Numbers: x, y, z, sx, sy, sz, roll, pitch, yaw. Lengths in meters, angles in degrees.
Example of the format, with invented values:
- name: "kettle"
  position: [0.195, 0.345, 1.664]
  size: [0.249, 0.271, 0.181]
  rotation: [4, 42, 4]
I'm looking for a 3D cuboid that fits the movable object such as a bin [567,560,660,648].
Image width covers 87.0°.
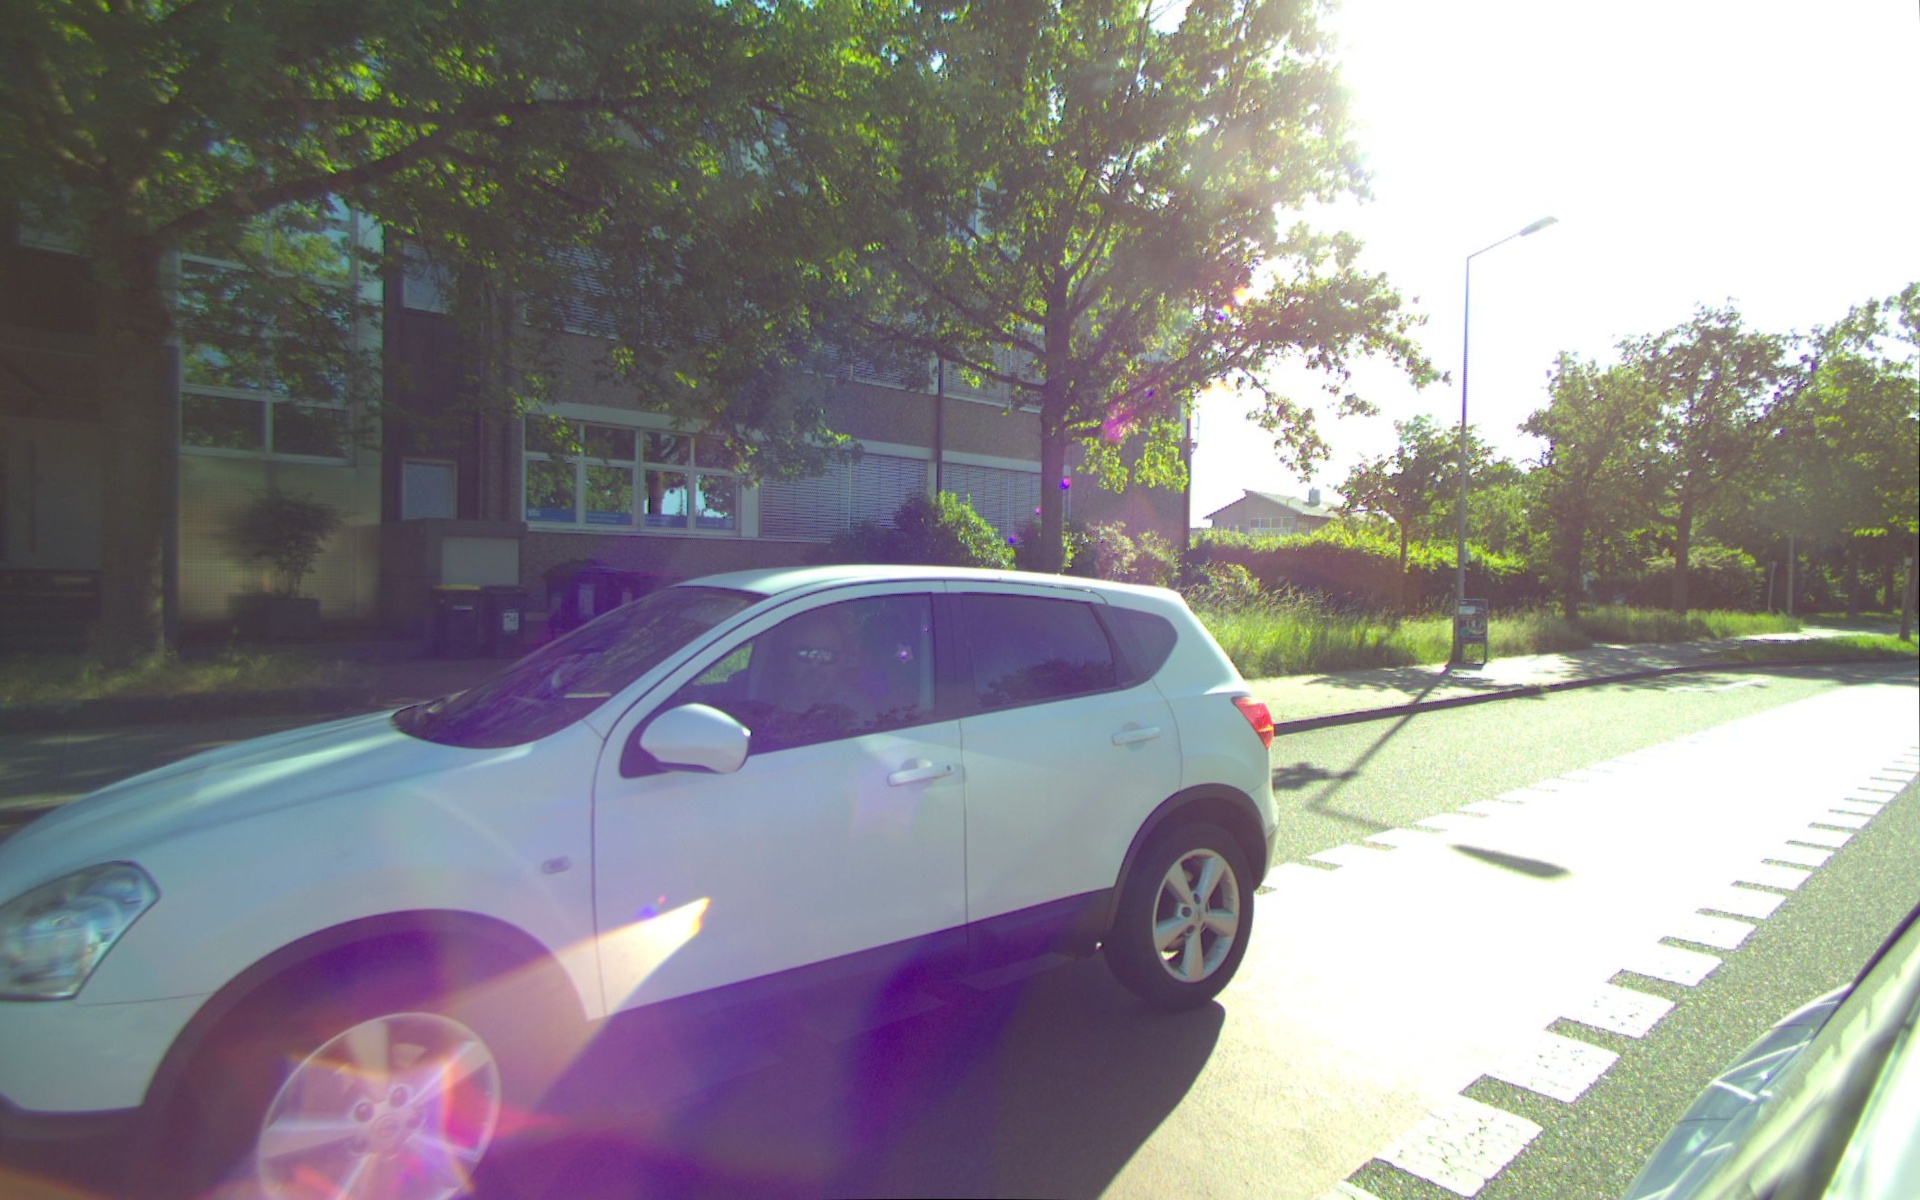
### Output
- name: "movable object such as a bin"
  position: [-5.774, 0.045, 16.855]
  size: [1.070, 1.388, 1.186]
  rotation: [0, 2, -43]

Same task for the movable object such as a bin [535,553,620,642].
- name: "movable object such as a bin"
  position: [-6.783, -0.072, 17.935]
  size: [1.024, 1.501, 1.309]
  rotation: [0, 2, -41]

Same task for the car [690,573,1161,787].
- name: "car"
  position: [-0.148, 0.578, 9.126]
  size: [4.068, 1.487, 1.705]
  rotation: [1, 1, -41]

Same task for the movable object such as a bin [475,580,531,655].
- name: "movable object such as a bin"
  position: [-6.761, 0.242, 14.972]
  size: [0.604, 1.075, 0.634]
  rotation: [0, 1, -42]

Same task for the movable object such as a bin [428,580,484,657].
- name: "movable object such as a bin"
  position: [-7.217, 0.247, 14.491]
  size: [0.575, 1.070, 0.625]
  rotation: [0, 1, -42]

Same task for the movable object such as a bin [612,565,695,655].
- name: "movable object such as a bin"
  position: [-4.784, 0.127, 15.768]
  size: [0.878, 1.323, 1.186]
  rotation: [0, 2, -37]

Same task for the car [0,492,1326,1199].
- name: "car"
  position: [-0.694, 0.613, 3.562]
  size: [3.989, 1.628, 1.723]
  rotation: [0, 0, -34]
